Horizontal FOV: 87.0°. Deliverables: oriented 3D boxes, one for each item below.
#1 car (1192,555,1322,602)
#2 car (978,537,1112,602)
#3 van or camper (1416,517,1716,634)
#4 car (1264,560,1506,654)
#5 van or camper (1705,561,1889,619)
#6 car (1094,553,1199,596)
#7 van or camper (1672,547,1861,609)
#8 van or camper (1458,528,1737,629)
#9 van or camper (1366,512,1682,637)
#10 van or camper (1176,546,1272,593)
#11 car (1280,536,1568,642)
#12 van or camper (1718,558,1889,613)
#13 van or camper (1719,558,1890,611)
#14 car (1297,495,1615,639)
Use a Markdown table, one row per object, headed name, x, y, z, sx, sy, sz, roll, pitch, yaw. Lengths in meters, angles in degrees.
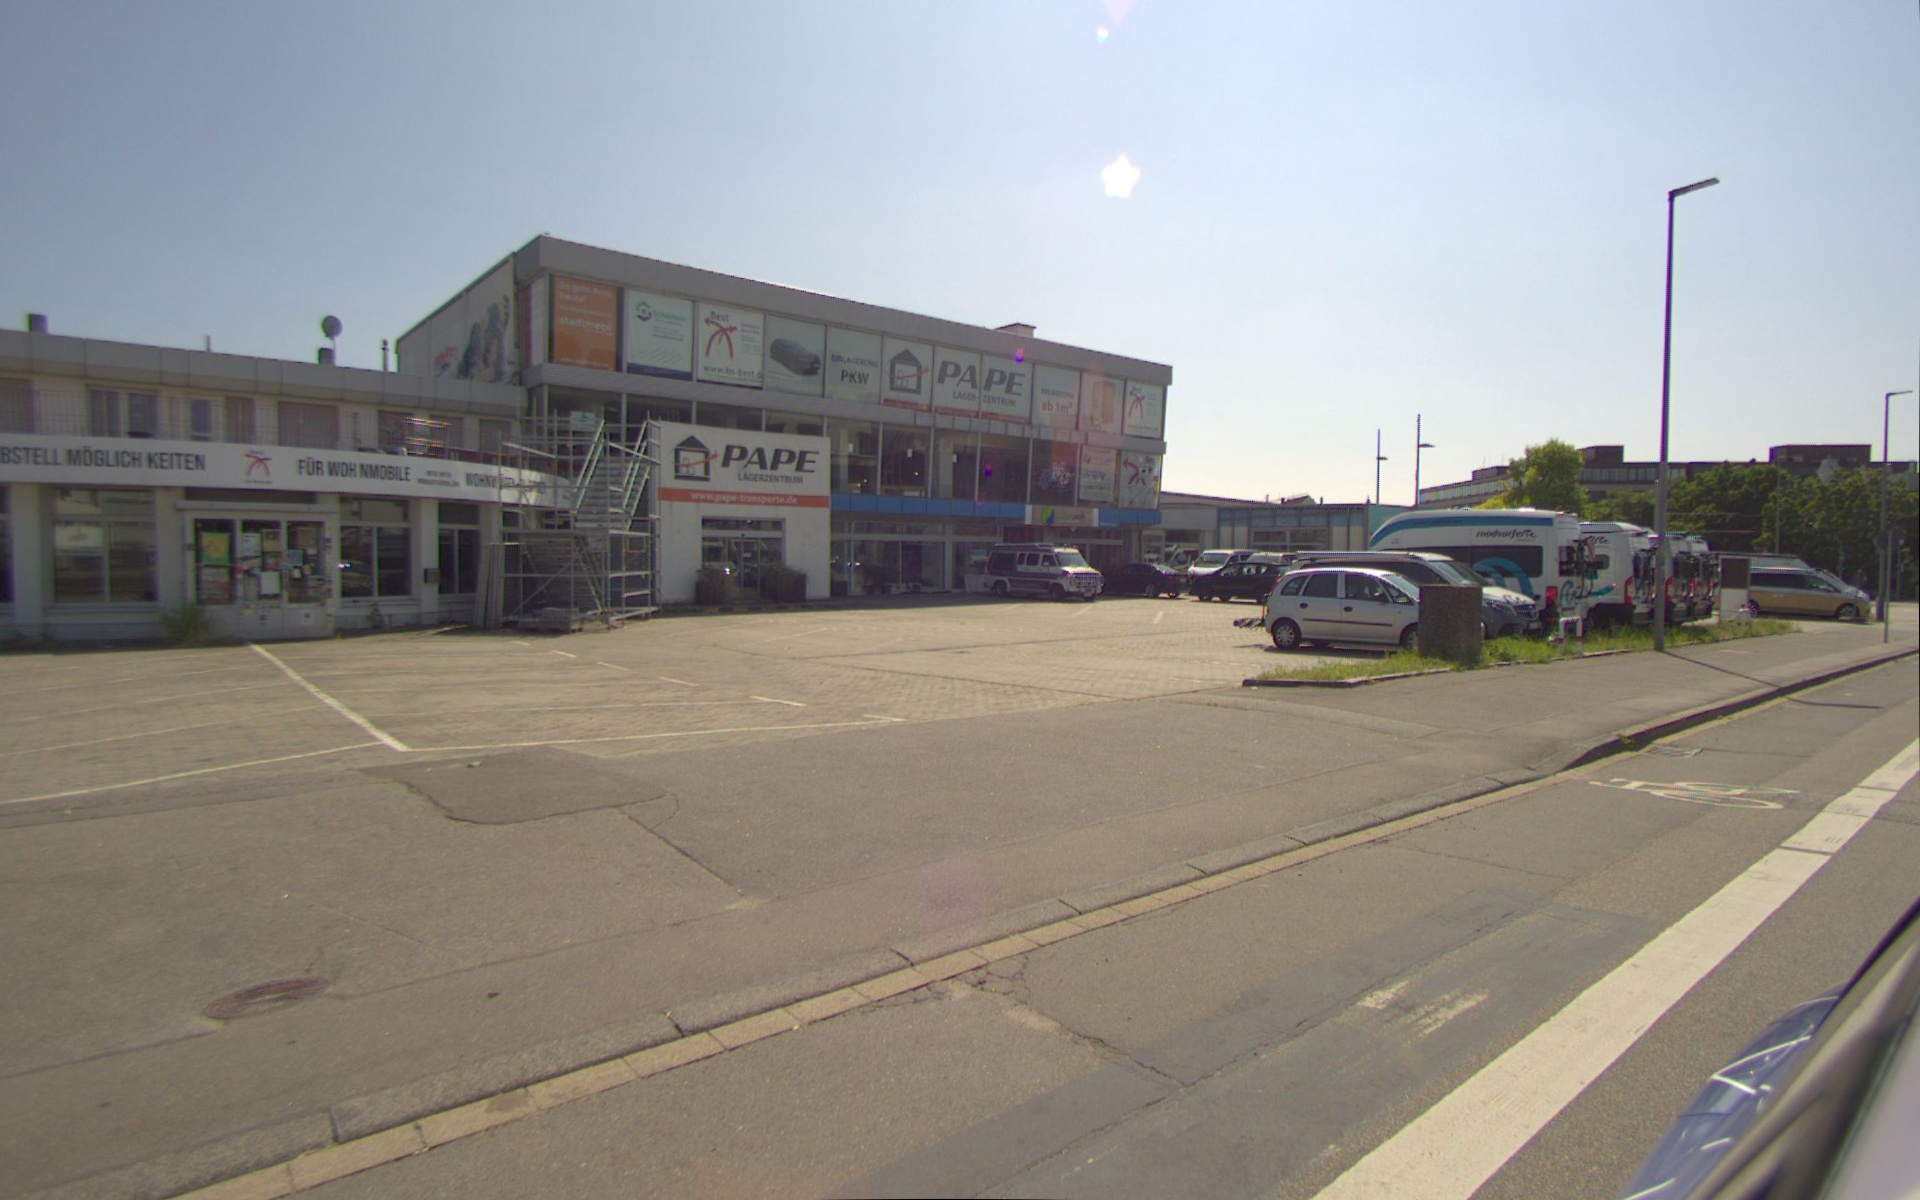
| name | x | y | z | sx | sy | sz | roll | pitch | yaw |
| --- | --- | --- | --- | --- | --- | --- | --- | --- | --- |
| car | 11.652 | -0.873 | 39.885 | 1.967 | 1.699 | 4.542 | -1 | 3 | -44 |
| car | 3.317 | -1.257 | 40.565 | 2.285 | 2.448 | 5.308 | 0 | 2 | -40 |
| van or camper | 16.018 | -0.700 | 27.140 | 2.664 | 2.749 | 6.363 | 0 | 2 | -40 |
| car | 8.048 | 0.117 | 19.396 | 1.768 | 1.613 | 3.924 | 0 | 0 | -44 |
| van or camper | 32.593 | -0.447 | 39.604 | 5.072 | 1.985 | 1.975 | 2 | 3 | 20 |
| car | 8.013 | -1.140 | 43.770 | 1.967 | 1.754 | 4.109 | -1 | 3 | -44 |
| van or camper | 37.236 | -1.060 | 46.956 | 6.270 | 2.669 | 2.523 | 1 | 2 | 14 |
| van or camper | 17.968 | -0.672 | 28.871 | 2.573 | 2.555 | 6.209 | 0 | 2 | -40 |
| van or camper | 13.875 | -0.687 | 25.342 | 2.664 | 2.733 | 6.363 | 0 | 2 | -40 |
| van or camper | 12.361 | -1.417 | 47.149 | 2.118 | 2.038 | 5.035 | 2 | 2 | 44 |
| car | 9.749 | -0.345 | 21.693 | 1.965 | 1.975 | 5.245 | 0 | 3 | -40 |
| van or camper | 34.598 | -0.636 | 41.703 | 4.920 | 2.070 | 2.030 | 2 | 3 | 20 |
| van or camper | 36.631 | -0.714 | 44.080 | 5.071 | 2.102 | 2.439 | 2 | 2 | 18 |
| car | 11.321 | -0.790 | 23.626 | 2.279 | 2.904 | 6.242 | 0 | 2 | -40 |
